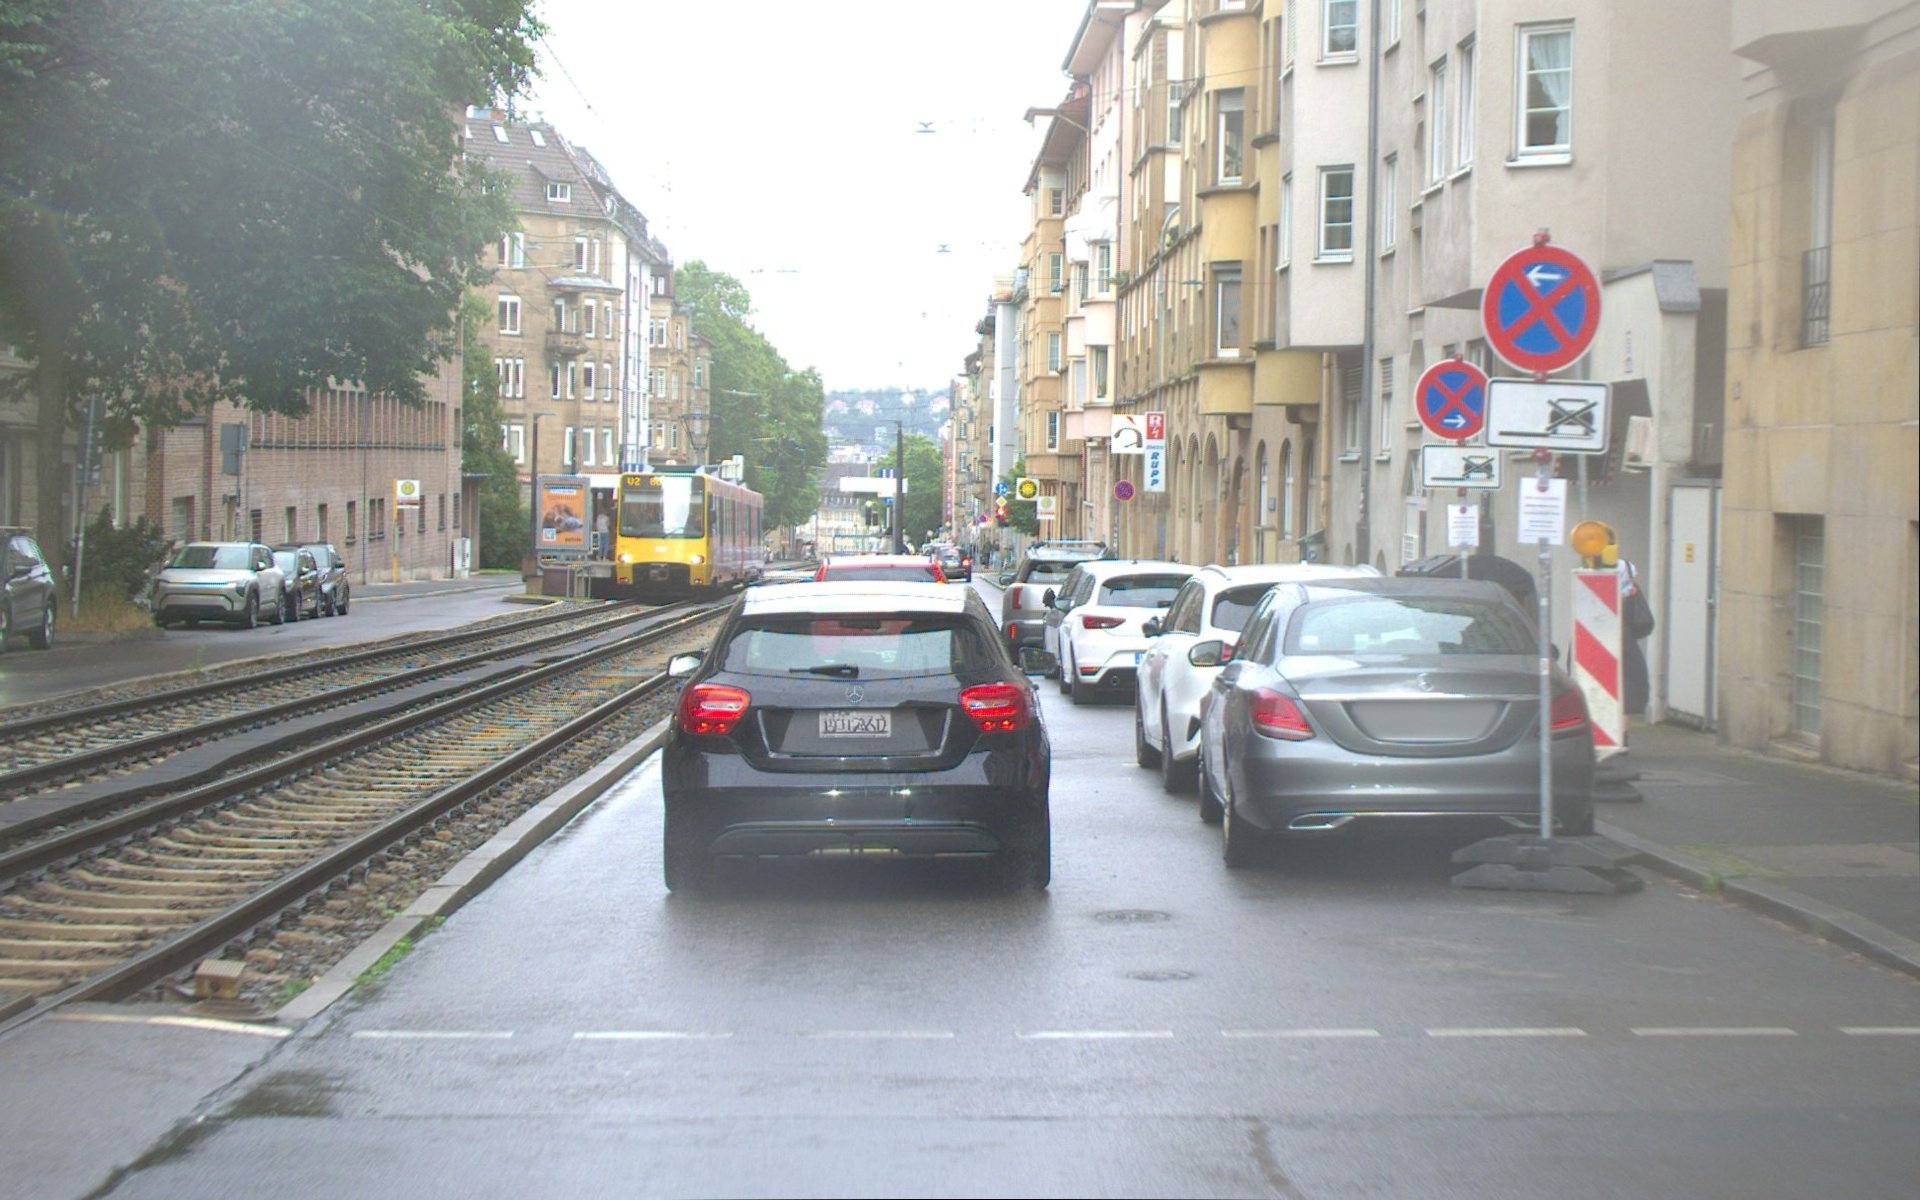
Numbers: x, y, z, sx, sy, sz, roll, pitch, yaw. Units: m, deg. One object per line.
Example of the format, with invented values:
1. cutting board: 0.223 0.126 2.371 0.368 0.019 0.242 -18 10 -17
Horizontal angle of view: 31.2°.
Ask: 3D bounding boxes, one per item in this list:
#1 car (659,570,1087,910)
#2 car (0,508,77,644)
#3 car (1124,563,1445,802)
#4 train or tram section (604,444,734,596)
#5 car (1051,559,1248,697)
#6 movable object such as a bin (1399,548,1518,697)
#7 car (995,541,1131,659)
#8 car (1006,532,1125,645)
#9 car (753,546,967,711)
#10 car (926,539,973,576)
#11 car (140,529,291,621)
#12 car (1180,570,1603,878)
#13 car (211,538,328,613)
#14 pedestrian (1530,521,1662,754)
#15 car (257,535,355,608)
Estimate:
1. car: -0.392 0.588 16.808 1.834 1.448 3.902 1 1 0
2. car: -13.581 -0.394 46.834 1.953 1.736 4.779 4 1 -2
3. car: 2.117 0.501 23.576 1.712 1.463 4.774 0 0 0
4. train or tram section: -8.358 -2.285 100.652 2.745 4.048 17.216 0 1 -1
5. car: 1.961 0.273 36.636 1.789 1.381 4.395 0 0 -1
6. movable object such as a bin: 4.985 0.222 34.427 0.980 1.463 1.273 0 0 -1
7. car: 1.470 -0.007 49.226 1.841 1.602 4.760 0 0 2
8. car: 1.660 -0.186 55.285 1.778 1.744 4.548 0 0 0
9. car: -0.965 0.249 34.772 1.993 1.520 4.246 1 1 0
10. car: -0.424 -1.824 148.064 1.887 1.520 4.245 1 1 1
11. car: -13.829 -0.492 64.103 1.961 1.600 4.329 1 1 -2
12. car: 2.135 0.563 18.208 1.711 1.405 4.817 0 0 1
13. car: -13.859 -0.513 69.162 1.666 1.410 3.688 1 1 -1
14. pedestrian: 4.660 0.269 25.232 0.804 1.681 0.754 0 0 -1
15. car: -13.859 -0.615 72.926 1.572 1.462 3.045 1 1 -2
